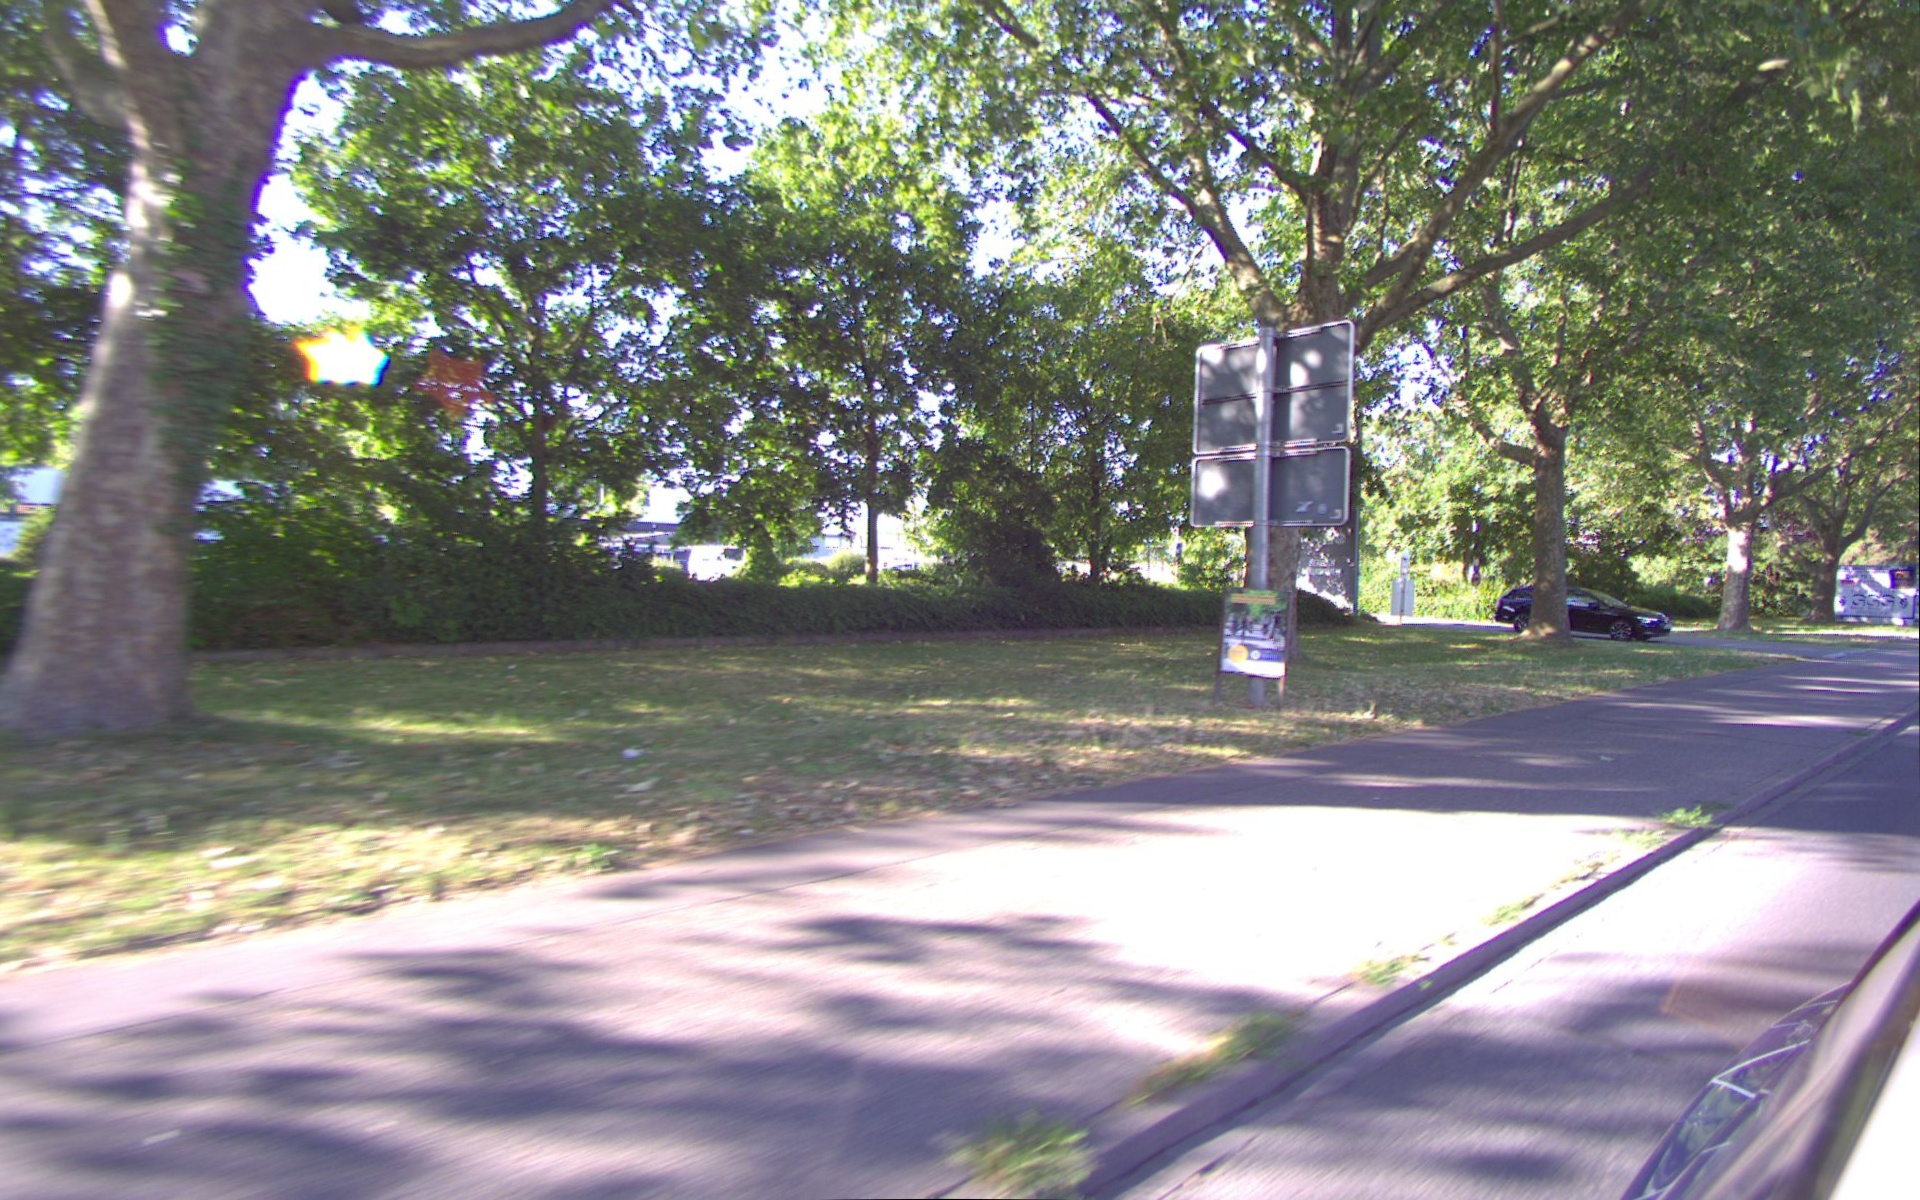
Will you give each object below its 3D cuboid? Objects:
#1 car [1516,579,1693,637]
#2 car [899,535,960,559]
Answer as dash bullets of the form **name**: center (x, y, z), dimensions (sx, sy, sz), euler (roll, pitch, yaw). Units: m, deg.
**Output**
- **car**: center (18.814, 0.183, 29.711), dimensions (1.728, 1.461, 4.000), euler (0, 3, -37)
- **car**: center (-2.132, -3.616, 69.423), dimensions (1.962, 1.571, 4.591), euler (0, 2, -34)
